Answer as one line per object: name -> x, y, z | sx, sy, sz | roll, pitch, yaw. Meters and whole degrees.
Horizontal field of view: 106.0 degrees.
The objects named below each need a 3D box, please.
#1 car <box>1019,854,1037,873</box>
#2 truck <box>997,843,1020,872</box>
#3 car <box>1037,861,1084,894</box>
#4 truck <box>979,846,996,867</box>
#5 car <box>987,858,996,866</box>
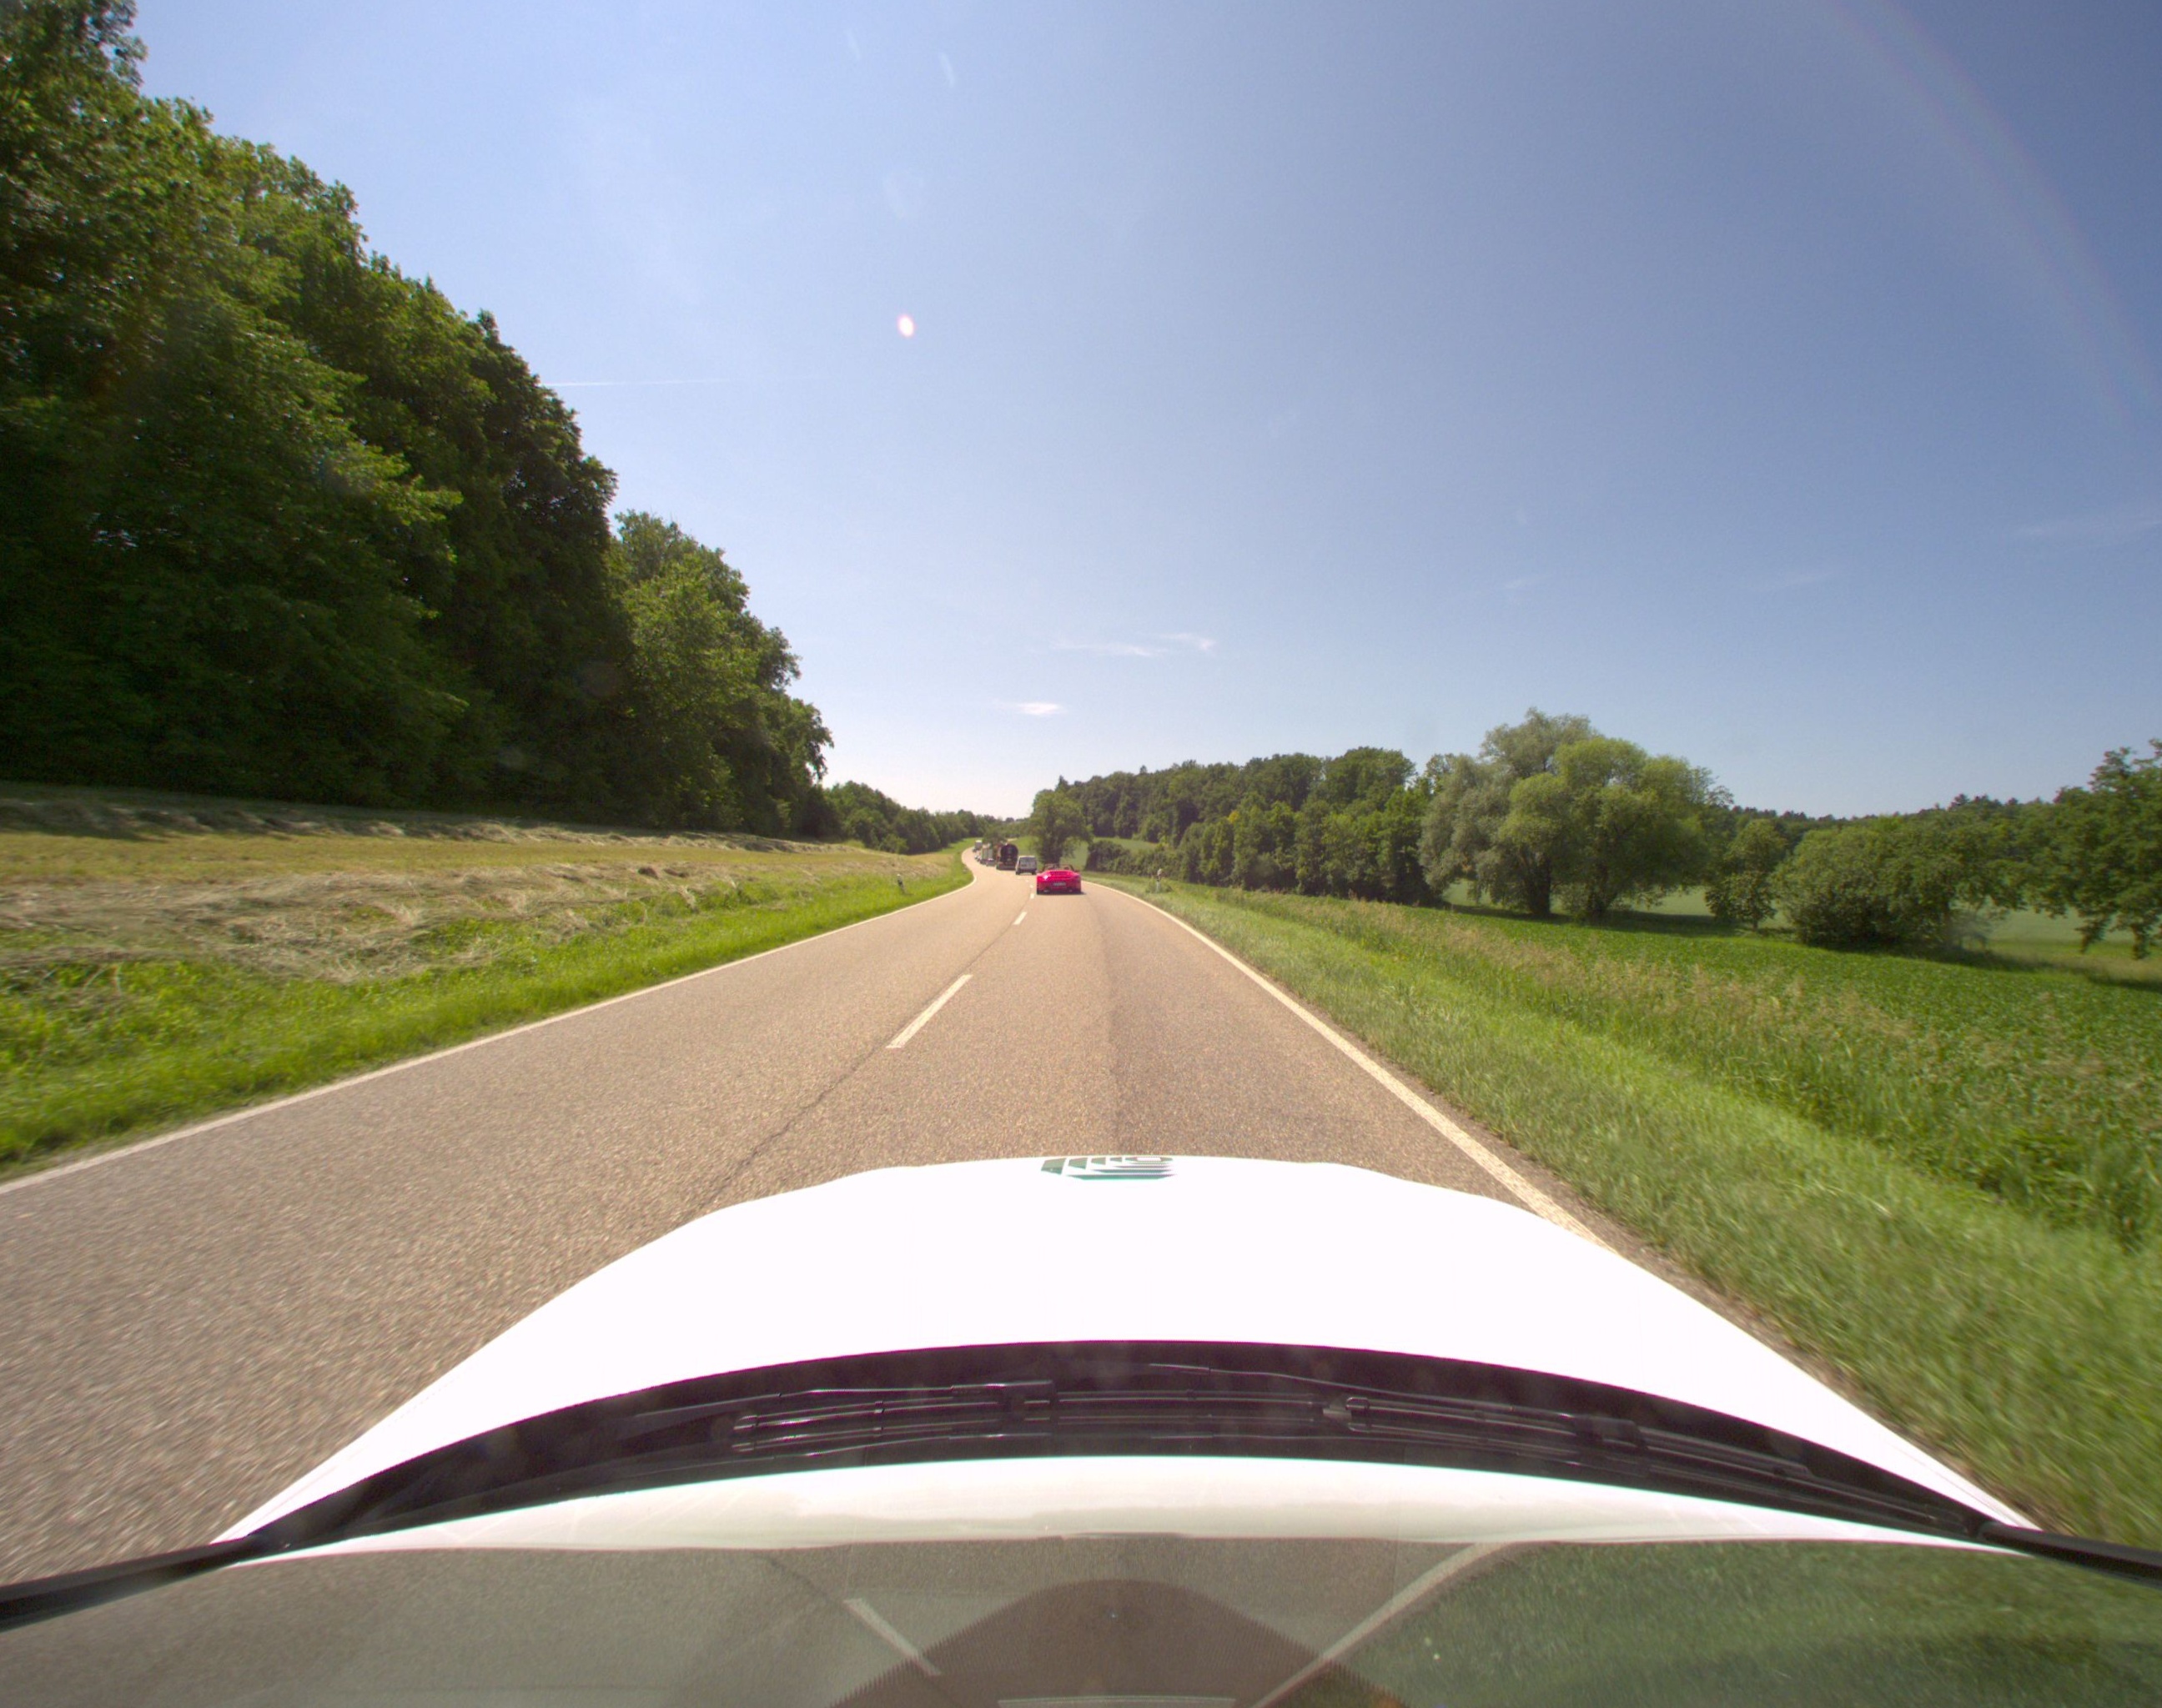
car -> -5.435, 0.966, 82.654 | 1.676, 1.900, 4.001 | -1, 0, -6
truck -> -10.785, 0.410, 119.711 | 2.404, 4.049, 12.508 | 0, 0, -10
car -> -0.894, 0.963, 34.949 | 1.878, 1.255, 4.006 | -1, 0, -2
truck -> -23.674, 0.517, 204.998 | 3.724, 4.659, 11.996 | 0, 2, -9
car -> -18.245, 1.707, 165.494 | 1.722, 1.585, 4.147 | 0, 0, -9
